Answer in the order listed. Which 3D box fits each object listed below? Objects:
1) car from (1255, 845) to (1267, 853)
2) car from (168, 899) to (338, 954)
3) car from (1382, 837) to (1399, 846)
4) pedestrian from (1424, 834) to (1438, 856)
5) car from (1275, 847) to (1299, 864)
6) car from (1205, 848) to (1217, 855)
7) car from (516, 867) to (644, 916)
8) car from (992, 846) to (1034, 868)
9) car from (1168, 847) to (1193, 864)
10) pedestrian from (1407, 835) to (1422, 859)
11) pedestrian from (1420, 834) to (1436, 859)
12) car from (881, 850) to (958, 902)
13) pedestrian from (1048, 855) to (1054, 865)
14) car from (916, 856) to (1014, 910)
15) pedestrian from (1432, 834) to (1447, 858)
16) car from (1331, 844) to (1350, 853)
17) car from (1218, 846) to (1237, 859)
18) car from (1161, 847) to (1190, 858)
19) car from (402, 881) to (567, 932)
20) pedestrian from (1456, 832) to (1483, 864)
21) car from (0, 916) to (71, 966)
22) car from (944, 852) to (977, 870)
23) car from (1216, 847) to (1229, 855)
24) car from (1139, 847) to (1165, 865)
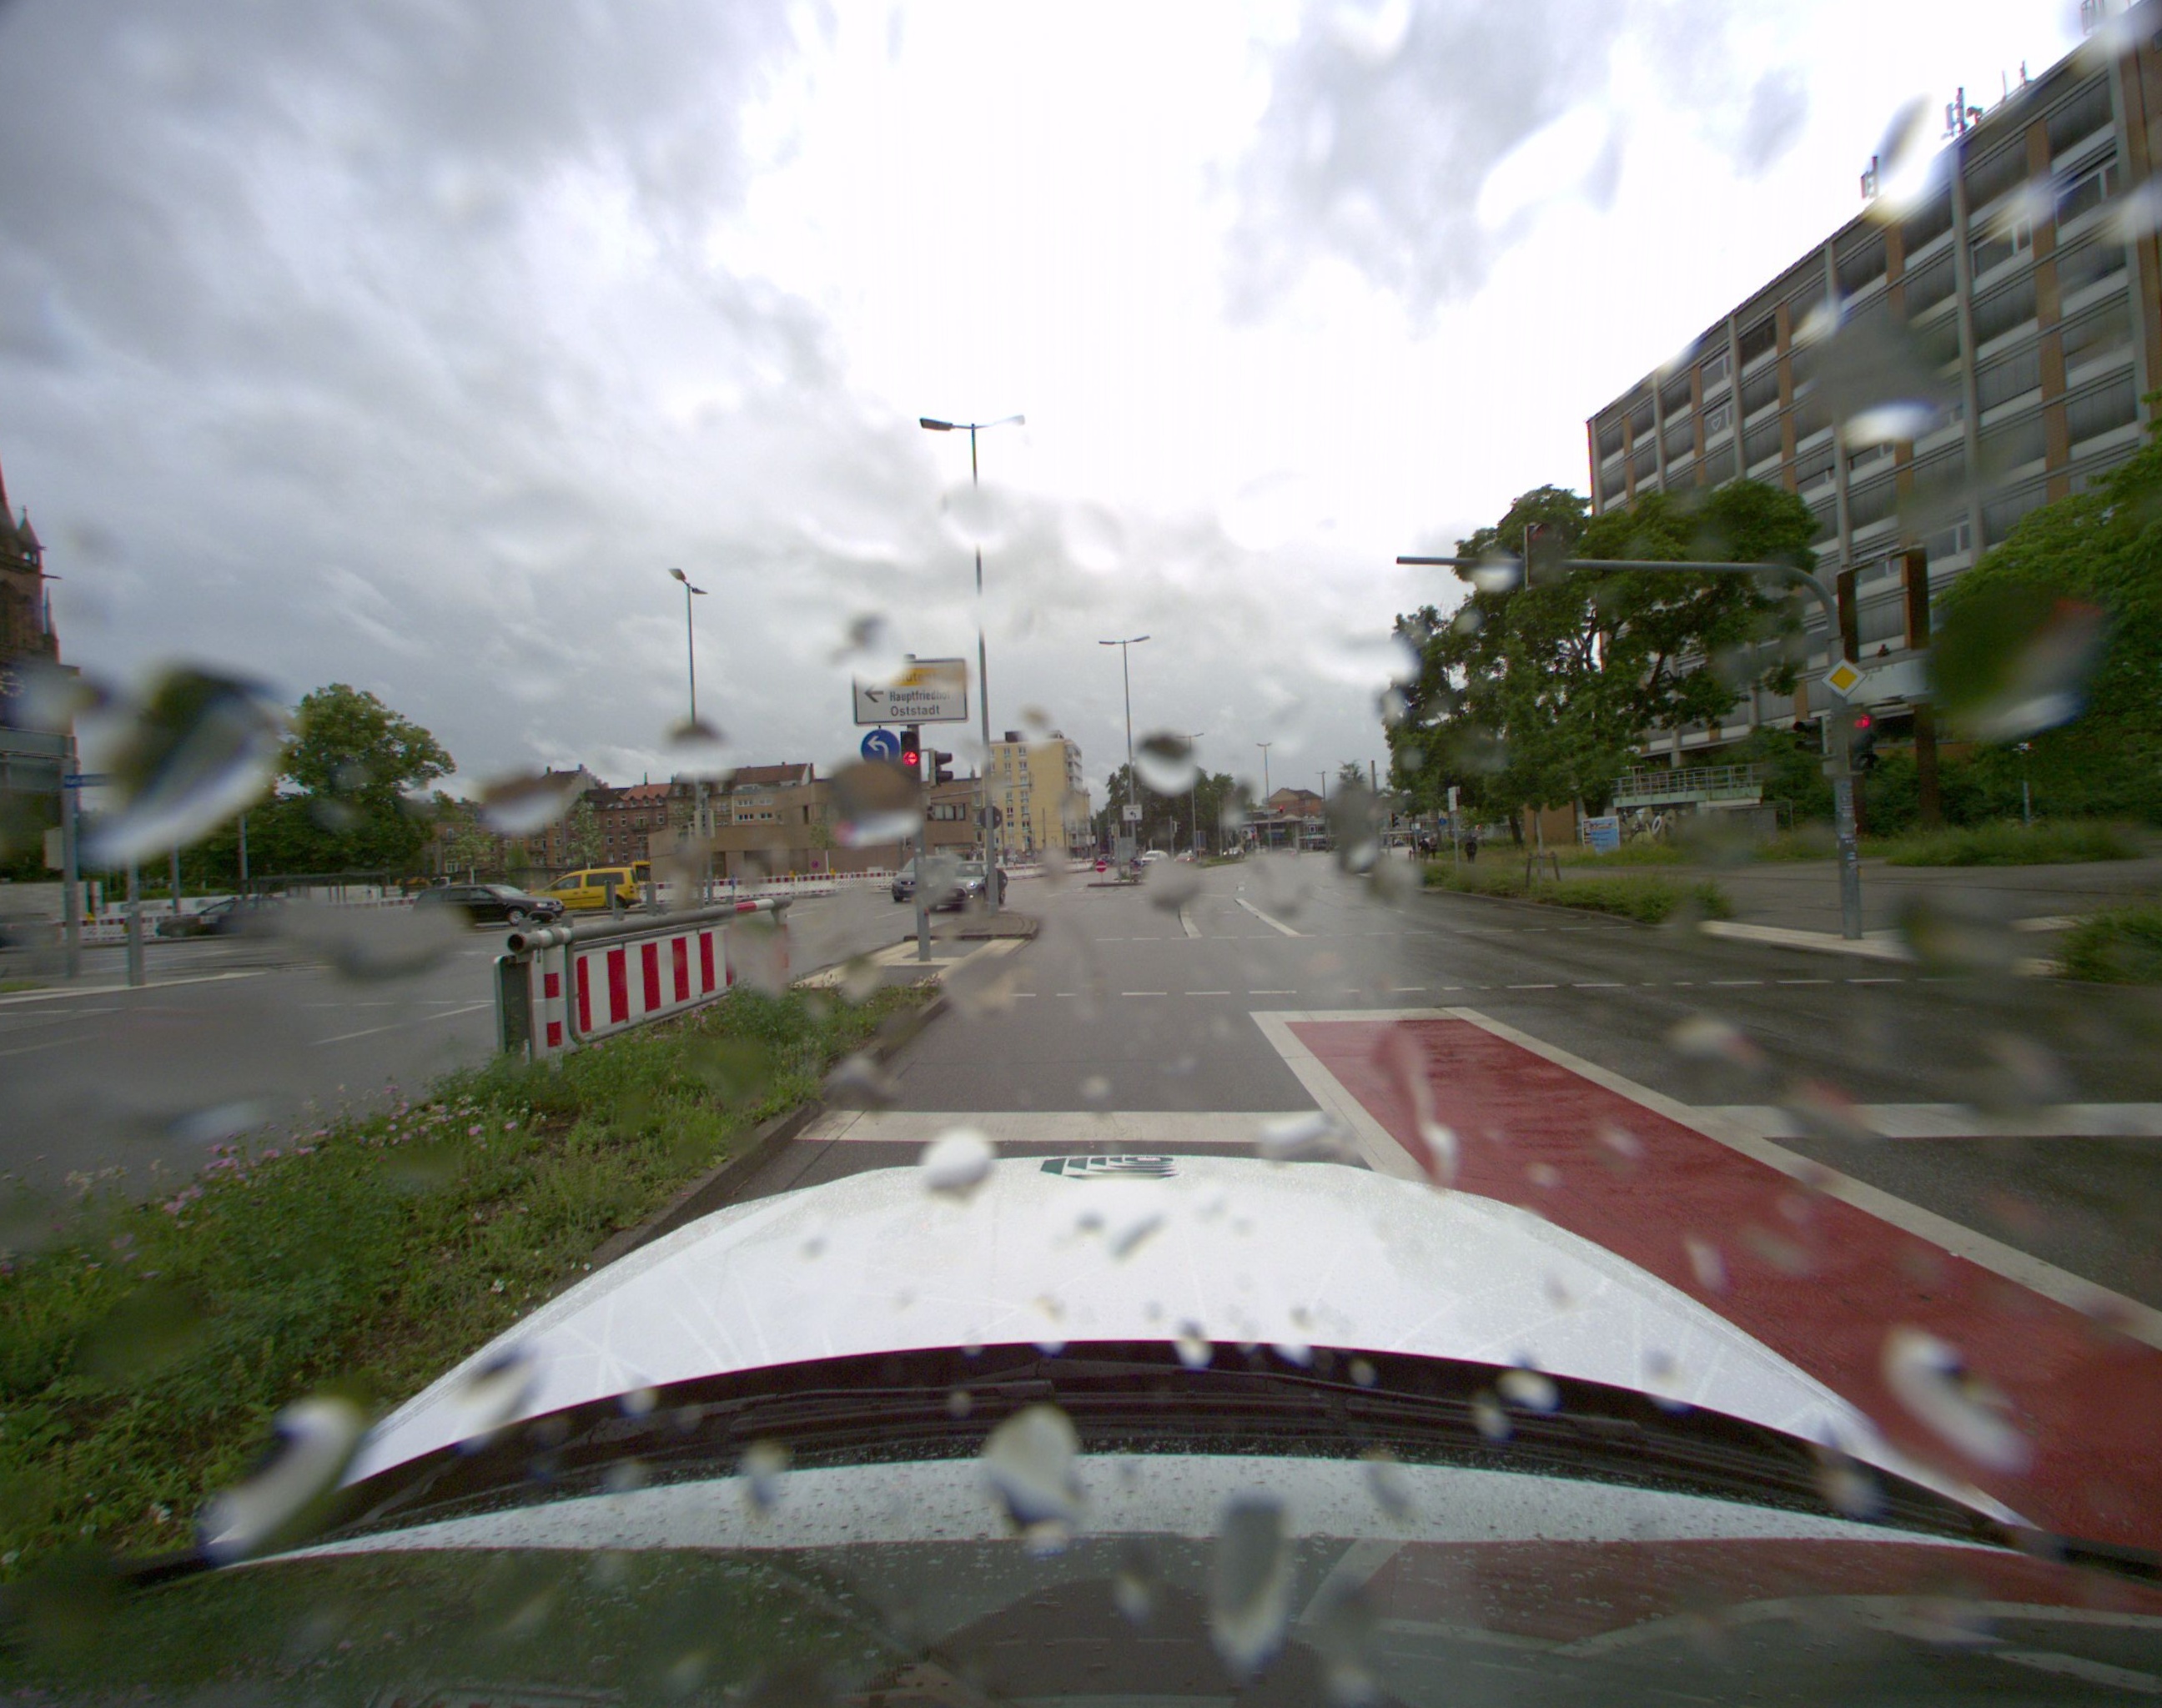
[{"bbox_3d":[41.073,-1.111,185.795,1.773,1.643,4.184,-3,0,25],"label":"car"},{"bbox_3d":[-31.884,2.773,31.464,4.440,1.706,1.707,-3,0,-6],"label":"car"},{"bbox_3d":[64.079,-2.655,168.652,4.184,1.643,1.773,-3,0,-44],"label":"car"},{"bbox_3d":[25.929,-0.686,60.321,0.698,1.588,0.939,-3,0,12],"label":"pedestrian"},{"bbox_3d":[21.936,0.101,86.485,1.774,1.643,4.183,-3,0,23],"label":"car"},{"bbox_3d":[30.430,-0.557,190.515,1.773,1.643,4.184,-3,0,25],"label":"car"},{"bbox_3d":[-20.260,1.477,33.124,4.157,1.706,1.698,-3,0,-23],"label":"car"},{"bbox_3d":[-11.822,0.460,141.980,6.711,3.380,2.813,-3,0,4],"label":"car"},{"bbox_3d":[10.435,0.178,85.267,1.775,1.643,4.066,-3,0,18],"label":"car"},{"bbox_3d":[22.661,-0.478,55.386,0.749,1.588,0.939,-3,0,12],"label":"pedestrian"},{"bbox_3d":[23.311,-0.512,54.718,0.698,1.588,0.939,-3,0,12],"label":"pedestrian"},{"bbox_3d":[-6.203,0.770,31.814,1.765,1.678,4.771,-5,1,2],"label":"car"},{"bbox_3d":[-5.325,1.101,145.386,1.089,1.813,1.117,-3,0,-2],"label":"pedestrian"},{"bbox_3d":[-3.562,0.860,25.827,1.760,1.376,4.134,-2,1,11],"label":"car"},{"bbox_3d":[24.069,-0.553,54.645,0.698,1.588,0.939,-3,0,12],"label":"pedestrian"},{"bbox_3d":[50.307,-1.078,157.759,1.773,1.643,4.184,-3,0,44],"label":"car"},{"bbox_3d":[21.240,-0.212,117.729,1.774,1.643,4.183,-3,0,23],"label":"car"},{"bbox_3d":[15.481,-0.264,133.188,4.372,1.643,1.794,-3,0,-3],"label":"car"},{"bbox_3d":[-19.992,1.743,27.436,4.185,1.402,1.615,-3,0,-5],"label":"car"},{"bbox_3d":[20.214,-0.303,42.380,1.015,1.588,0.939,-3,0,12],"label":"pedestrian"},{"bbox_3d":[-40.928,3.323,30.466,3.803,1.706,1.707,-3,0,-6],"label":"car"},{"bbox_3d":[-21.112,1.233,142.832,5.326,2.887,2.342,-3,0,4],"label":"car"},{"bbox_3d":[32.946,-0.682,189.467,1.773,1.643,4.184,-3,0,25],"label":"car"},{"bbox_3d":[7.640,0.190,87.461,1.776,1.858,4.178,-3,0,17],"label":"car"}]
